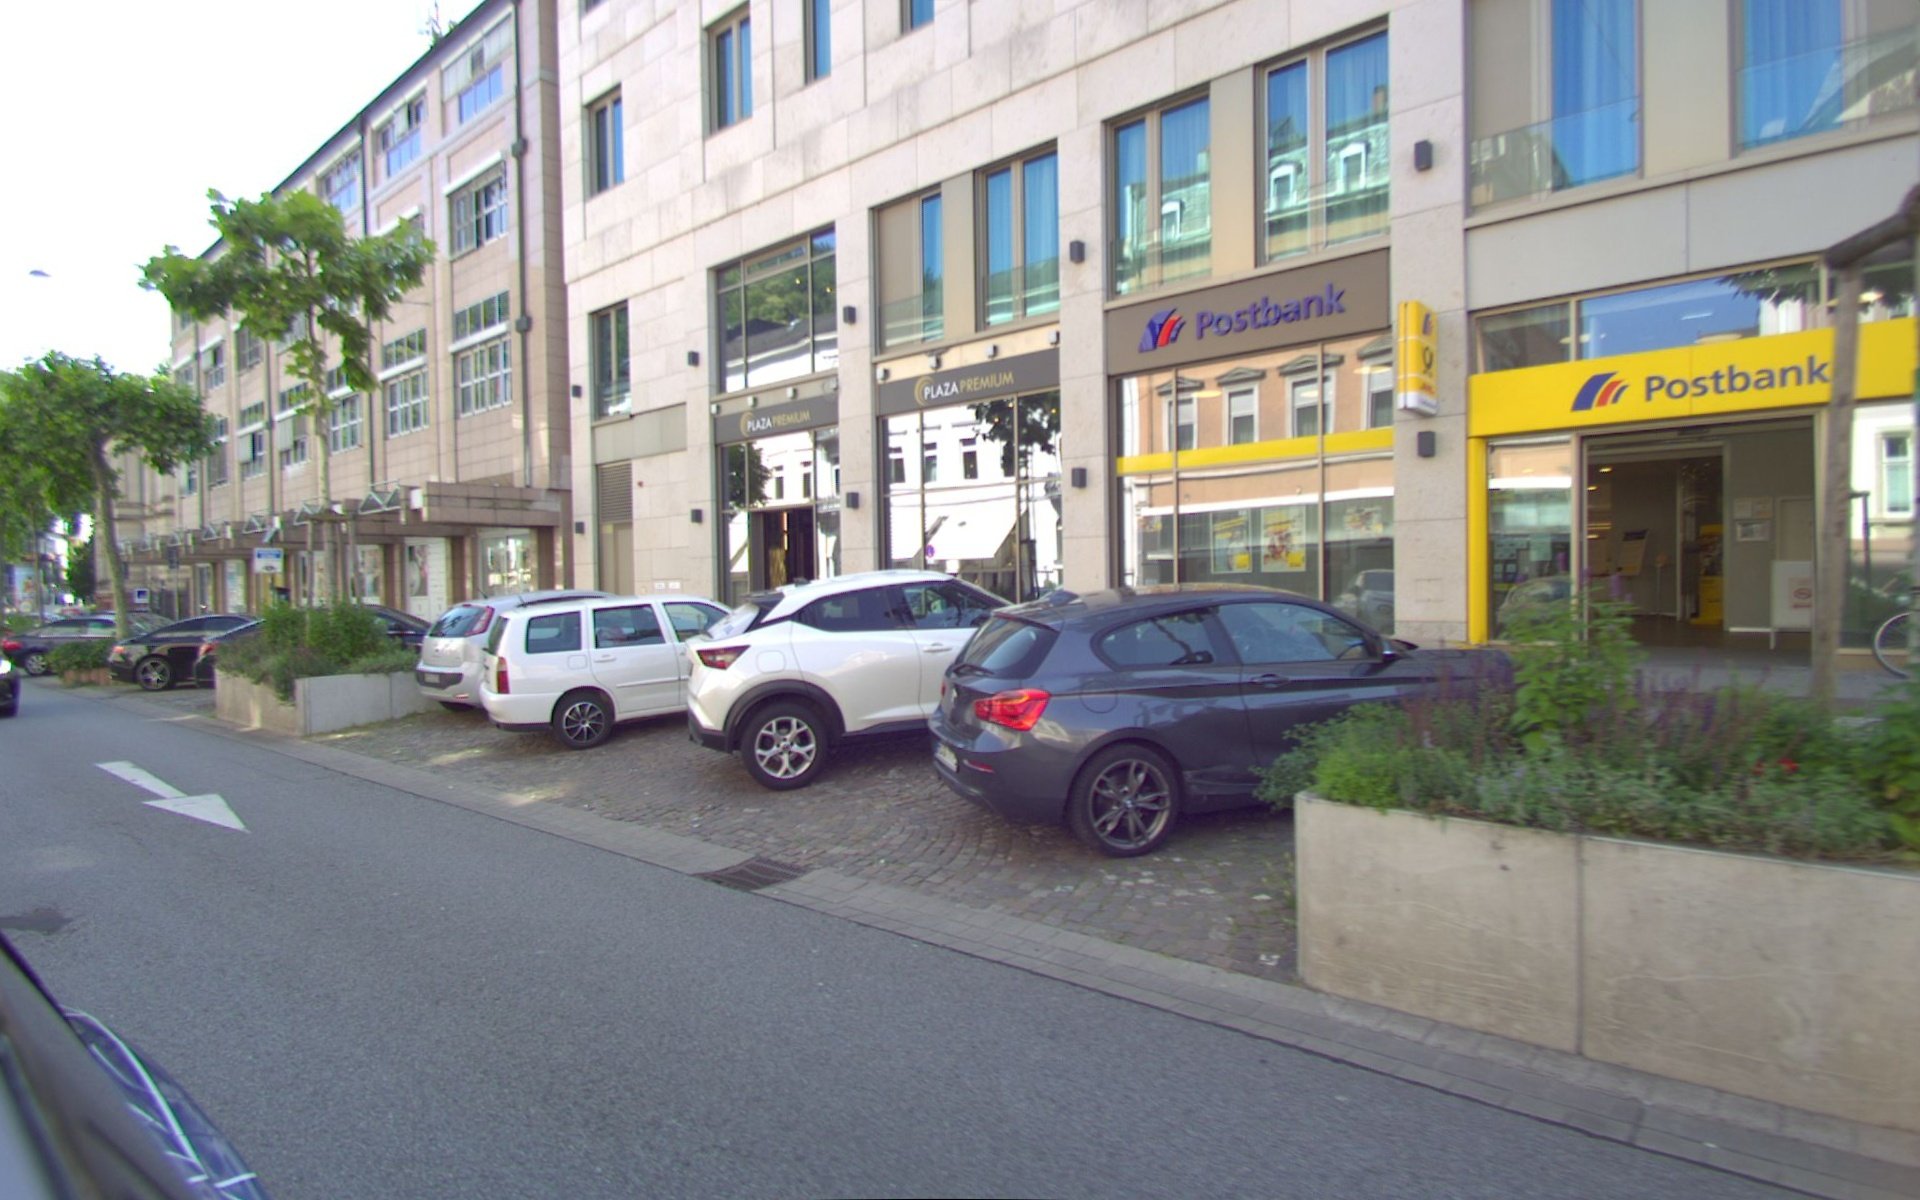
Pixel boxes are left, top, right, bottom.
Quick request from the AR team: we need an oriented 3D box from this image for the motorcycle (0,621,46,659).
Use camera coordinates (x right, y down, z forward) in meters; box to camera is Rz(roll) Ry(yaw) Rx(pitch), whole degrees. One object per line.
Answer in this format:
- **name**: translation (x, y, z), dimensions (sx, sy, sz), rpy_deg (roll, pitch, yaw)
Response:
- **motorcycle**: translation (-35.632, 1.488, 37.224), dimensions (3.058, 1.361, 0.979), rpy_deg (-1, 0, -2)

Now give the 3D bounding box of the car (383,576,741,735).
- **car**: translation (-5.077, 0.568, 13.345), dimensions (1.819, 1.539, 3.948), rpy_deg (1, 5, 40)

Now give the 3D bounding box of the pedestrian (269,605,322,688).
- **pedestrian**: translation (-15.562, 1.062, 23.702), dimensions (0.844, 1.893, 0.829), rpy_deg (-1, 0, 42)

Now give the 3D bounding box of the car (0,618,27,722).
- **car**: translation (-15.802, 1.050, 15.337), dimensions (4.102, 1.489, 1.845), rpy_deg (-2, -3, 39)

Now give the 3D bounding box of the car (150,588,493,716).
- **car**: translation (-10.407, 0.775, 16.923), dimensions (4.455, 1.515, 1.798), rpy_deg (-5, 4, -18)

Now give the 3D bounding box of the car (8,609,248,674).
- **car**: translation (-23.643, 1.144, 28.941), dimensions (5.051, 1.645, 1.847), rpy_deg (-1, 0, -10)

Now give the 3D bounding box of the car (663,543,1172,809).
- **car**: translation (-0.439, 0.489, 8.772), dimensions (3.971, 1.604, 1.825), rpy_deg (-6, 4, -16)

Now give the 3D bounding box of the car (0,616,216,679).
- **car**: translation (-22.278, 1.203, 26.319), dimensions (4.333, 1.457, 1.890), rpy_deg (-1, -1, -9)

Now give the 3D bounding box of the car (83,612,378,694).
- **car**: translation (-14.461, 1.020, 20.269), dimensions (4.551, 1.457, 1.735), rpy_deg (-1, 0, -5)

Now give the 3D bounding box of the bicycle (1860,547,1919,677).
- **bicycle**: translation (8.986, 0.084, 8.462), dimensions (2.160, 1.115, 0.490), rpy_deg (-1, 2, 41)

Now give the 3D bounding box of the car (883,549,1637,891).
- **car**: translation (1.813, 0.554, 6.477), dimensions (4.246, 1.460, 1.792), rpy_deg (-4, 3, -15)

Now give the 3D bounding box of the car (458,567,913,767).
- **car**: translation (-2.970, 0.563, 11.203), dimensions (4.426, 1.442, 1.869), rpy_deg (-7, 5, -29)
